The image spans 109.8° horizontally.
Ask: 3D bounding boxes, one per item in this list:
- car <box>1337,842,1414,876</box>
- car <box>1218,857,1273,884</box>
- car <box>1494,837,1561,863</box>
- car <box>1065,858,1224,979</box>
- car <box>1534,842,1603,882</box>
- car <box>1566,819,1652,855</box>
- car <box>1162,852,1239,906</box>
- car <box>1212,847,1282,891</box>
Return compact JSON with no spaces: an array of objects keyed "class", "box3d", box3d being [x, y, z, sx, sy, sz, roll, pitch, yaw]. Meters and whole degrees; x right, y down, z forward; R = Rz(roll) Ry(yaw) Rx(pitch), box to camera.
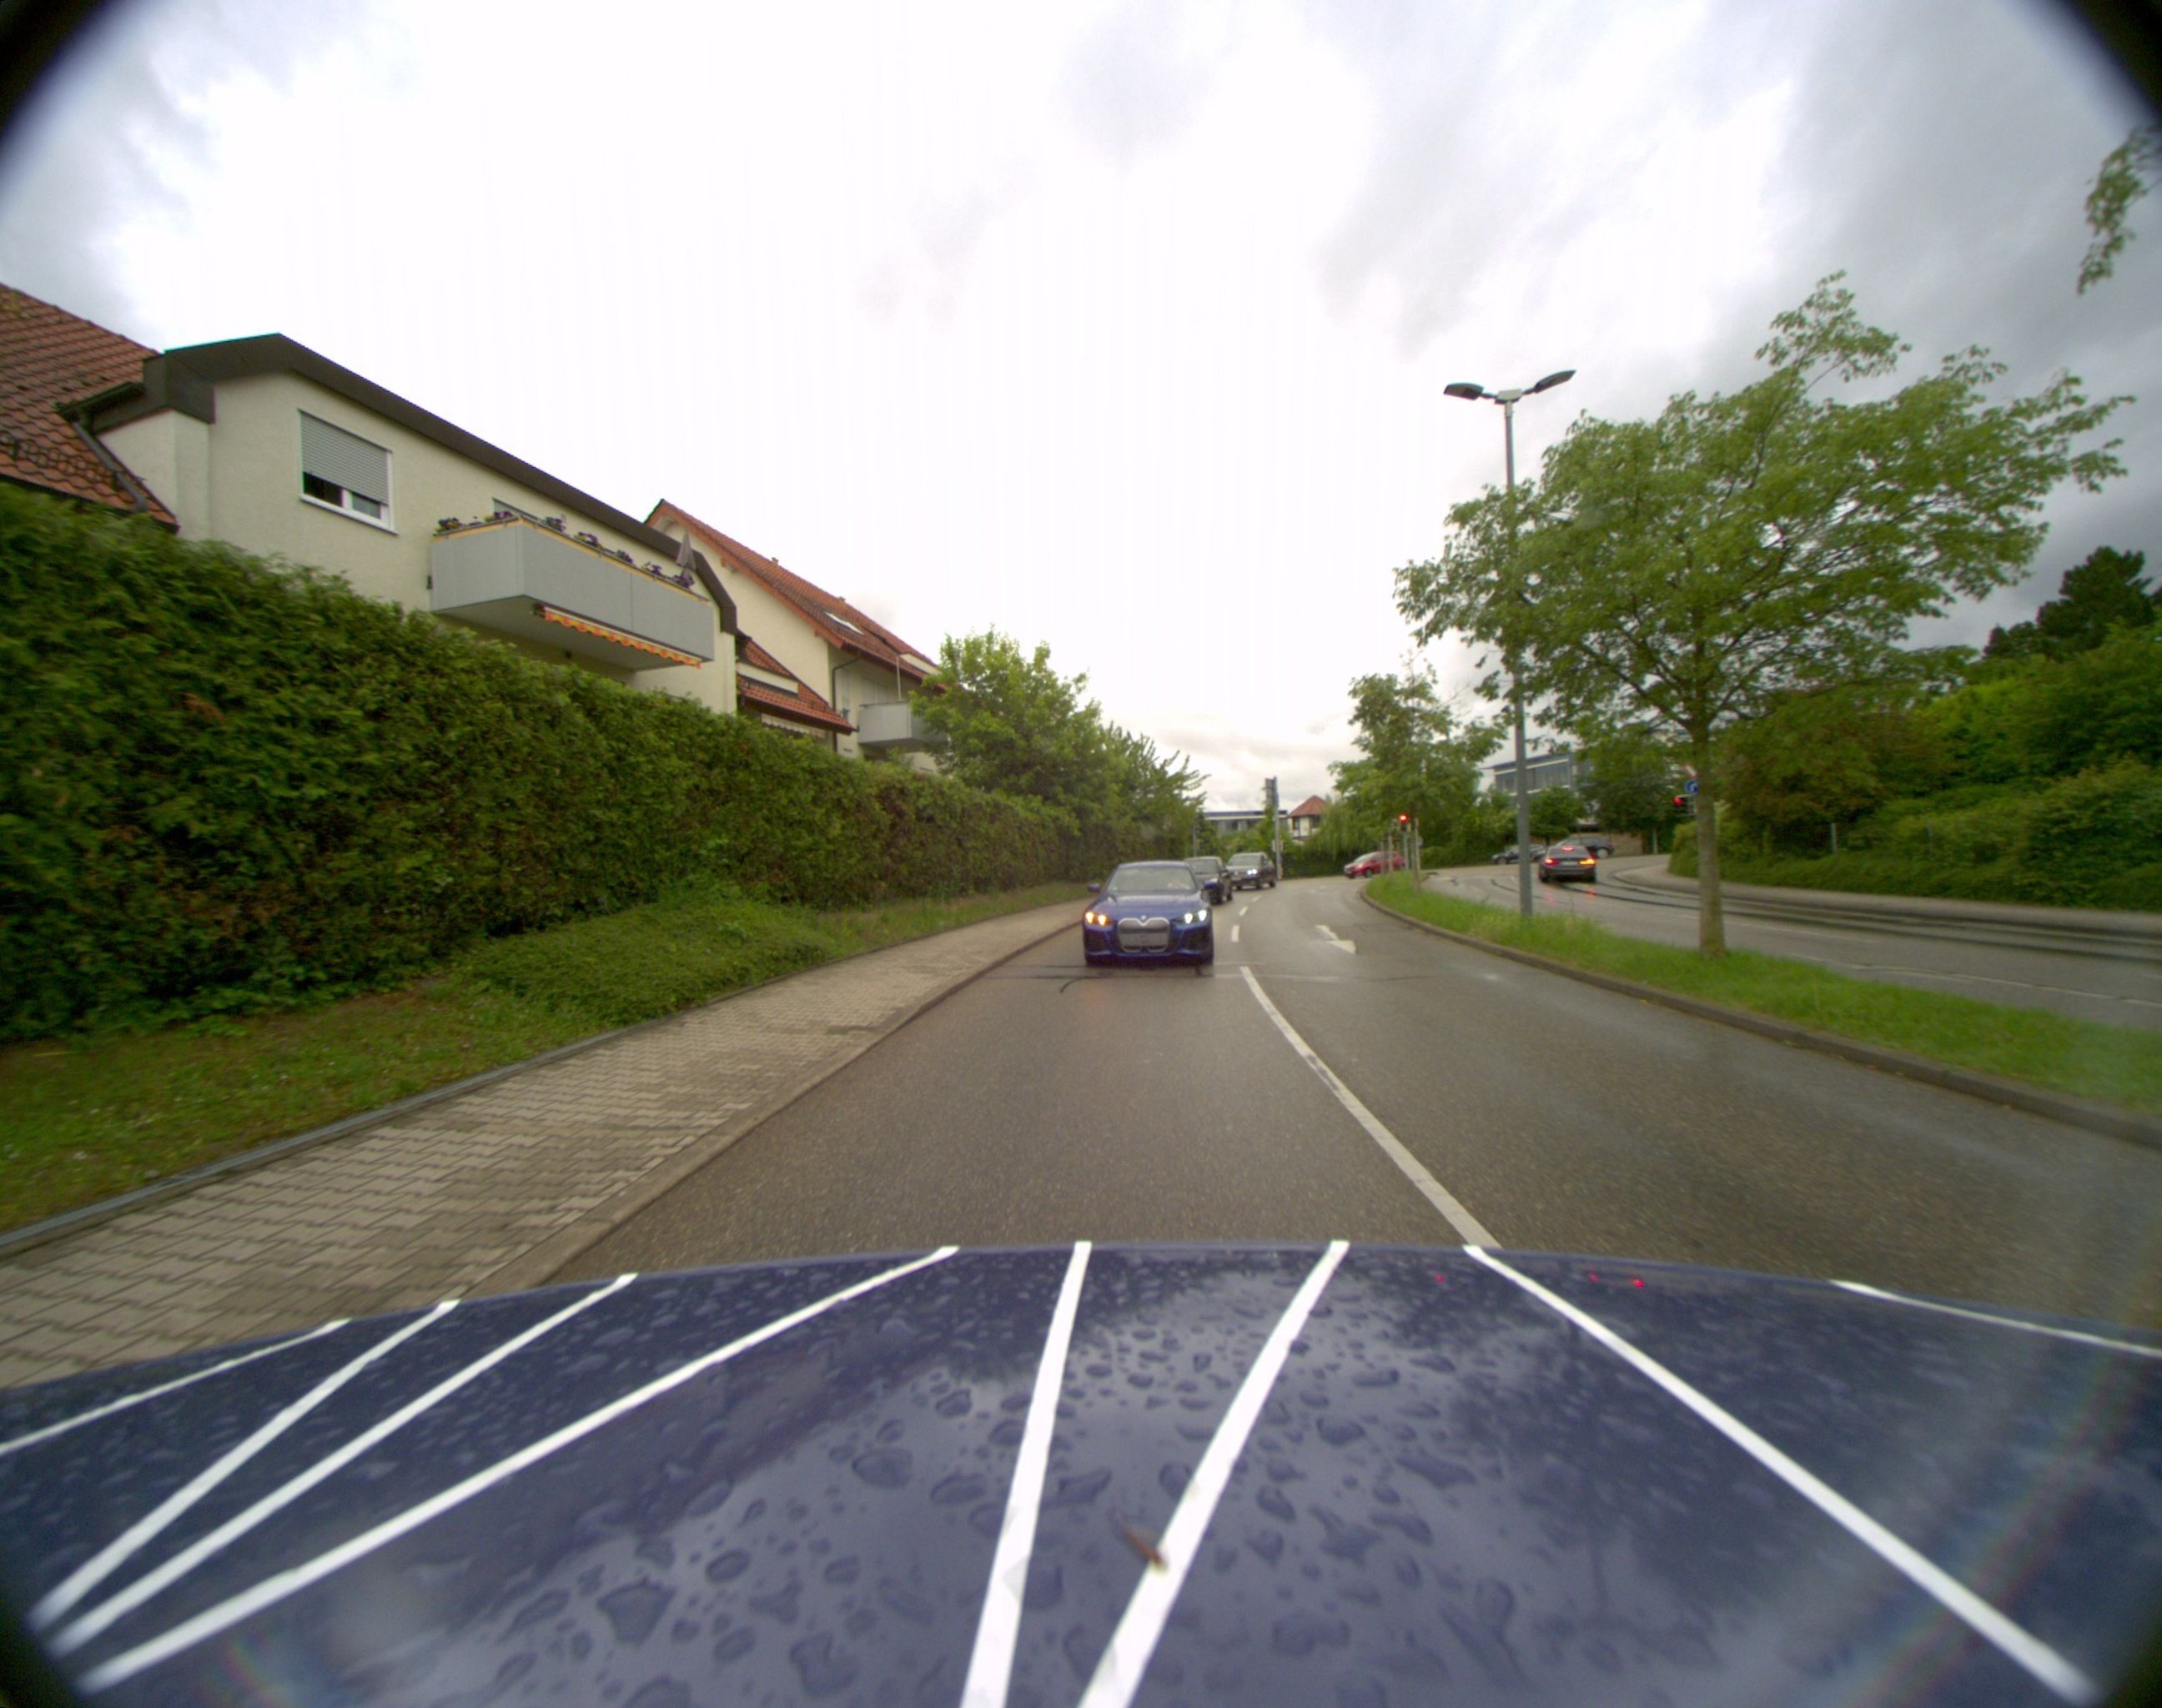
[{"class":"car","box3d":[17.886,0.307,46.128,4.003,1.715,1.867,-4,-3,-20]},{"class":"car","box3d":[14.137,1.425,65.457,3.991,2.001,2.004,-6,-3,32]},{"class":"car","box3d":[31.883,-0.272,54.309,3.989,1.661,2.004,-2,0,31]},{"class":"car","box3d":[1.222,0.887,12.237,1.912,1.487,4.353,-4,-1,12]},{"class":"car","box3d":[19.487,0.320,30.575,1.995,1.429,4.557,-2,-1,29]},{"class":"car","box3d":[31.956,-0.972,46.122,3.991,1.715,1.873,-6,-3,28]},{"class":"car","box3d":[4.018,0.819,25.076,1.744,1.509,4.006,-6,-3,18]},{"class":"car","box3d":[7.587,0.673,34.438,1.964,1.738,4.316,-6,-3,27]}]
